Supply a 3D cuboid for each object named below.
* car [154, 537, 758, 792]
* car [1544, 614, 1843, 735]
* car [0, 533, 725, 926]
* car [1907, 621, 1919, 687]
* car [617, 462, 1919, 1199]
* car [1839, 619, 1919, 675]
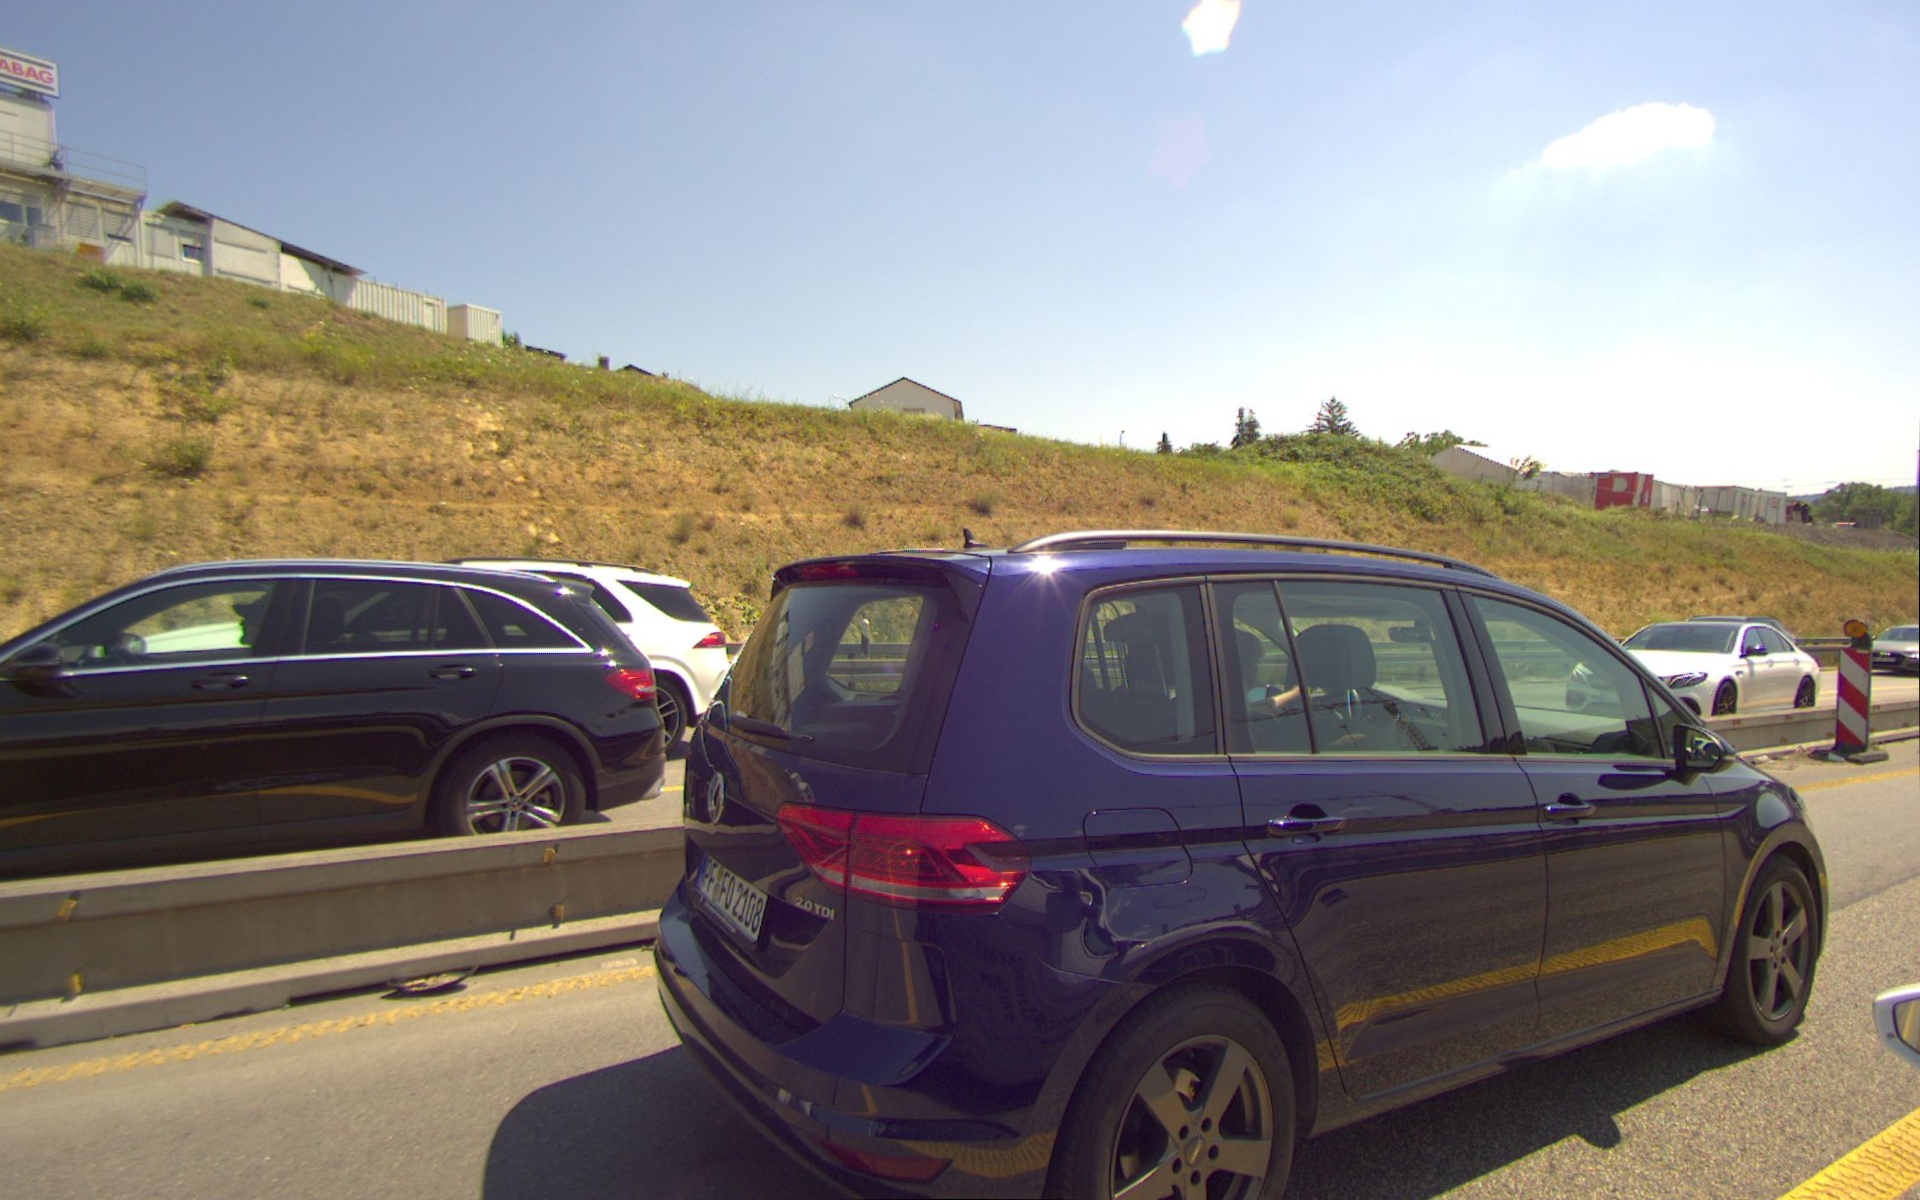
[{"bbox_3d":[-4.274,0.474,9.053,4.490,1.786,1.780,1,0,-34],"label":"car"},{"bbox_3d":[11.041,0.998,15.018,4.886,1.483,1.950,1,1,-32],"label":"car"},{"bbox_3d":[-3.814,0.534,5.335,4.681,1.633,1.781,1,1,-32],"label":"car"},{"bbox_3d":[23.915,1.256,23.130,4.581,1.466,1.792,1,1,-30],"label":"car"},{"bbox_3d":[1.342,0.627,3.530,4.596,1.741,1.767,0,1,-30],"label":"car"},{"bbox_3d":[27.309,1.304,28.935,4.079,1.466,1.757,1,1,-30],"label":"car"}]
